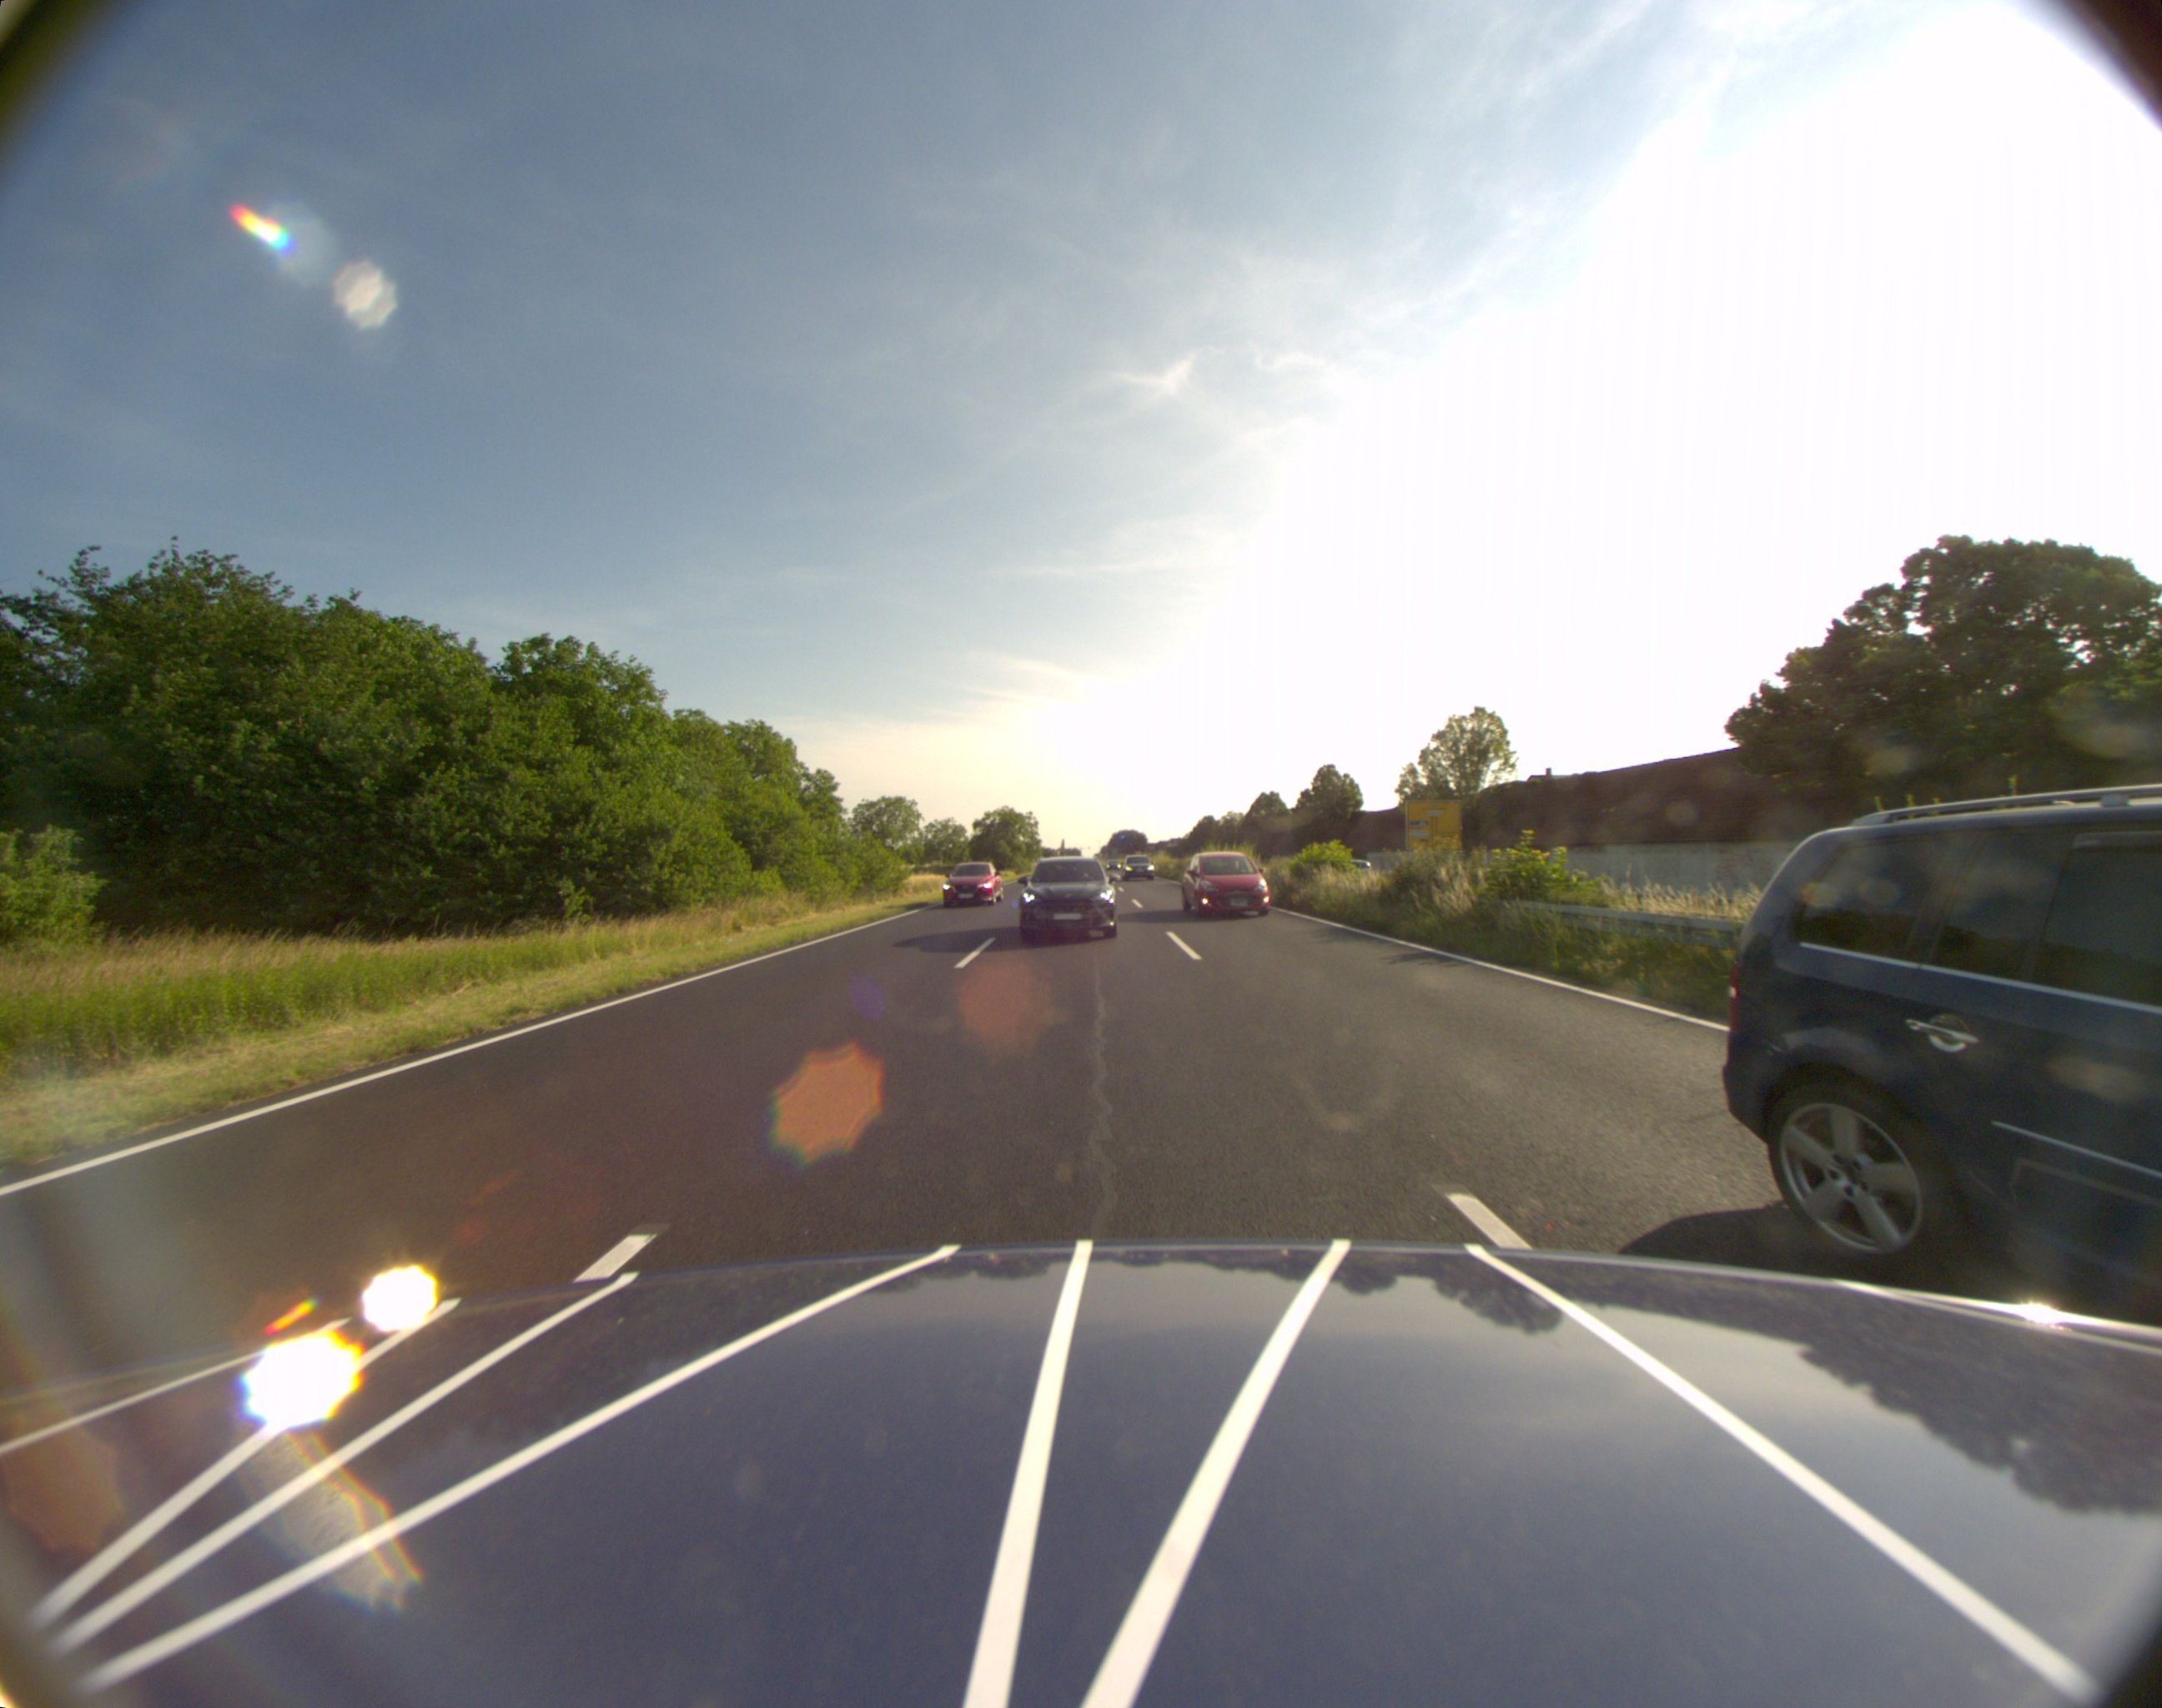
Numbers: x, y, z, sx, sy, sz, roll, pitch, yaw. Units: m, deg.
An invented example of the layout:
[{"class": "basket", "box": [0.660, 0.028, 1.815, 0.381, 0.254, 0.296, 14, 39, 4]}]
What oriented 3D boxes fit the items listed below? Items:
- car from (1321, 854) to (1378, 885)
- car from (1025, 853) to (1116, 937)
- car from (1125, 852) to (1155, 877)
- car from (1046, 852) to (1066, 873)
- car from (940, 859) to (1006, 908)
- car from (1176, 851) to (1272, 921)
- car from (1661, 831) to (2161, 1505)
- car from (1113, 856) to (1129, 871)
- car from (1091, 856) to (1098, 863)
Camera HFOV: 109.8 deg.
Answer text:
[{"class": "car", "box": [14.877, 0.813, 42.356, 1.693, 1.500, 4.185, -2, 1, 0]}, {"class": "car", "box": [-0.177, 0.838, 17.716, 1.791, 1.594, 4.339, -2, 1, 1]}, {"class": "car", "box": [3.926, 0.668, 50.982, 1.719, 1.521, 3.999, -2, 1, 1]}, {"class": "car", "box": [-2.591, 0.818, 78.149, 1.999, 2.002, 3.998, -2, 1, -2]}, {"class": "car", "box": [-3.835, 0.995, 27.736, 1.708, 1.497, 4.500, -2, 1, 0]}, {"class": "car", "box": [3.622, 0.753, 19.900, 1.748, 1.537, 3.999, -2, 1, 1]}, {"class": "car", "box": [3.477, 0.762, 1.089, 1.777, 1.612, 4.681, -1, 1, 1]}, {"class": "car", "box": [5.259, 1.279, 101.482, 1.918, 1.871, 3.999, -2, 1, 1]}, {"class": "car", "box": [4.181, 1.554, 231.610, 1.998, 2.002, 3.999, -2, 1, 1]}]
